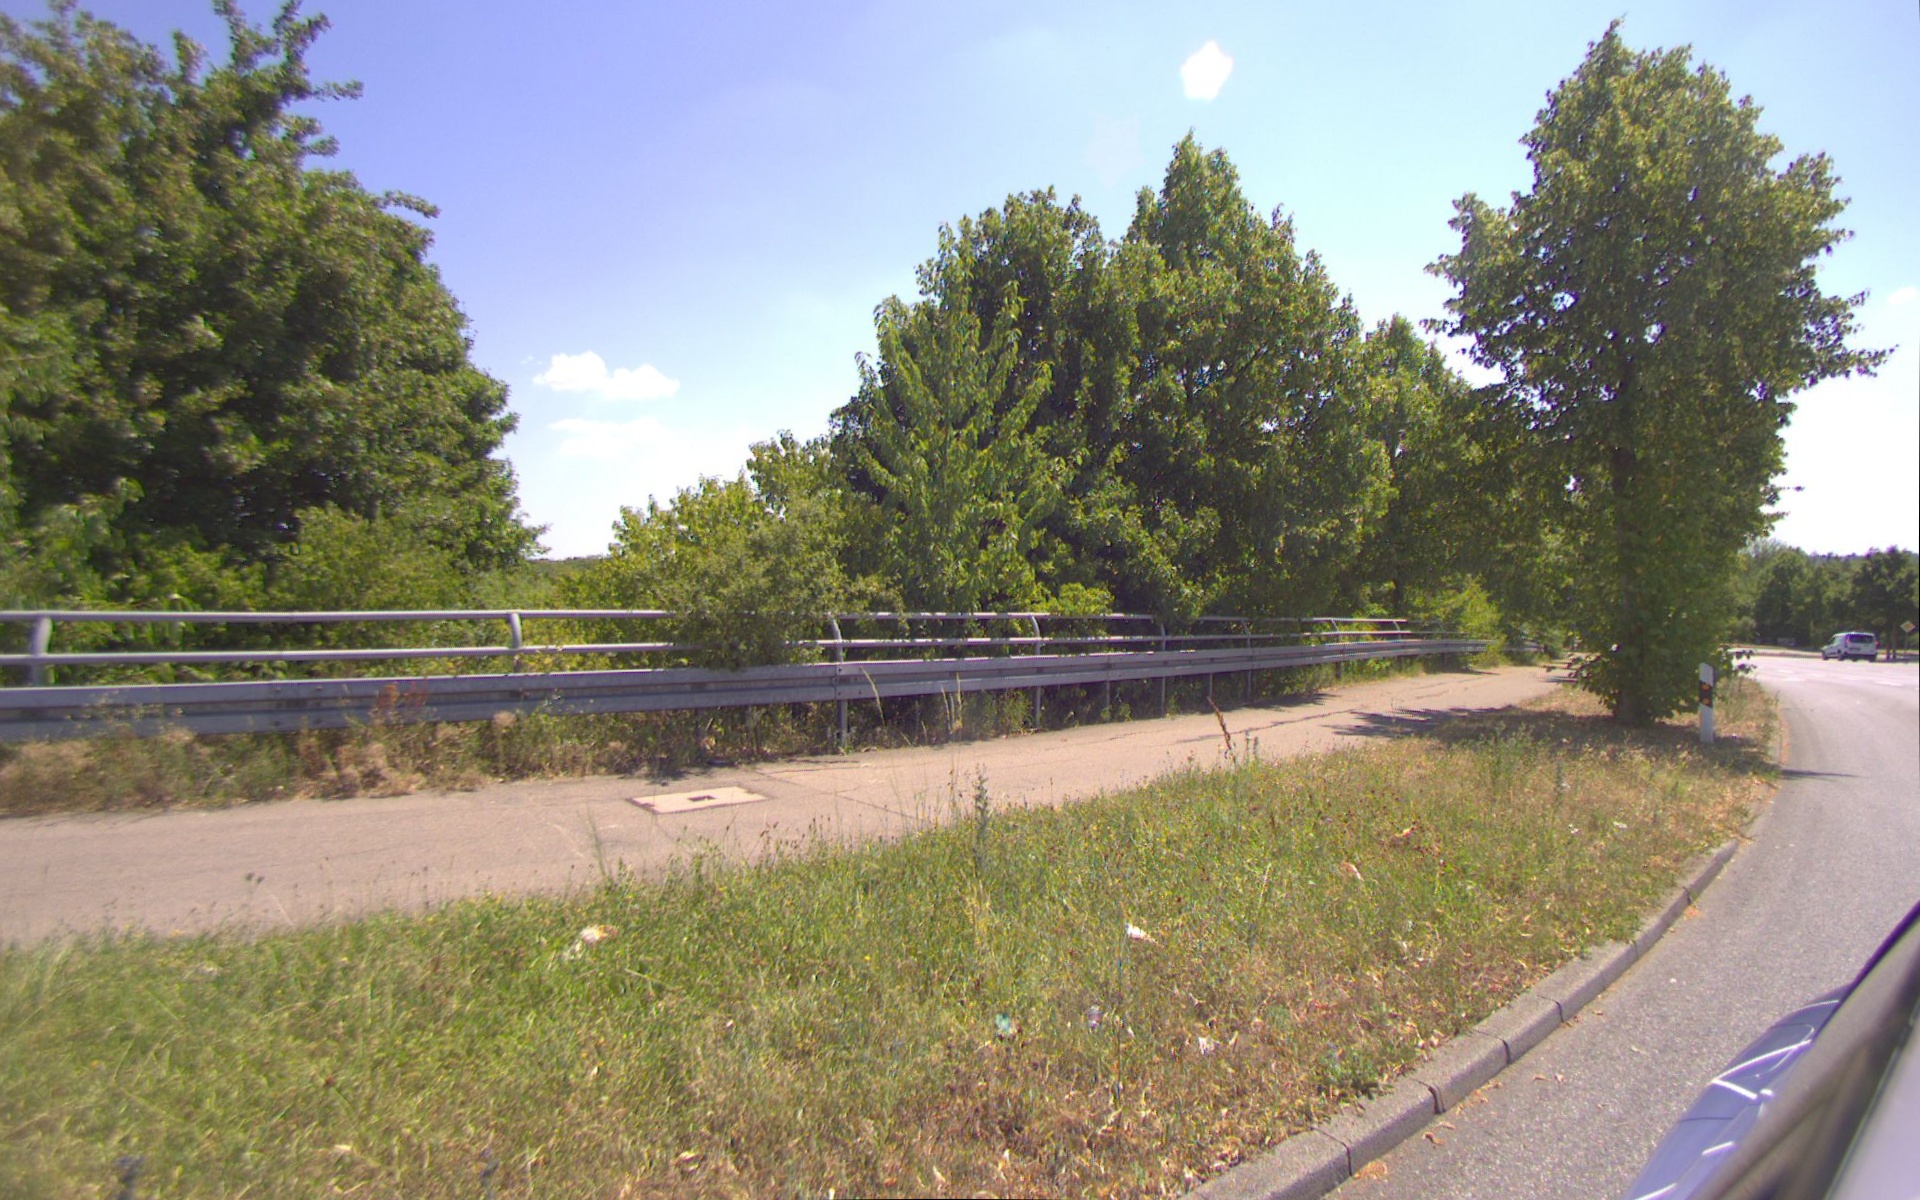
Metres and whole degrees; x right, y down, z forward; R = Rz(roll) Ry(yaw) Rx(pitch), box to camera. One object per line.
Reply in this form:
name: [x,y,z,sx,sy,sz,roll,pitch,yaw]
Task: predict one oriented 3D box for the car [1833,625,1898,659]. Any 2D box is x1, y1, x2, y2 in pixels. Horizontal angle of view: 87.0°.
car: [58.430,2.660,65.385,1.978,1.985,3.968,0,0,23]
